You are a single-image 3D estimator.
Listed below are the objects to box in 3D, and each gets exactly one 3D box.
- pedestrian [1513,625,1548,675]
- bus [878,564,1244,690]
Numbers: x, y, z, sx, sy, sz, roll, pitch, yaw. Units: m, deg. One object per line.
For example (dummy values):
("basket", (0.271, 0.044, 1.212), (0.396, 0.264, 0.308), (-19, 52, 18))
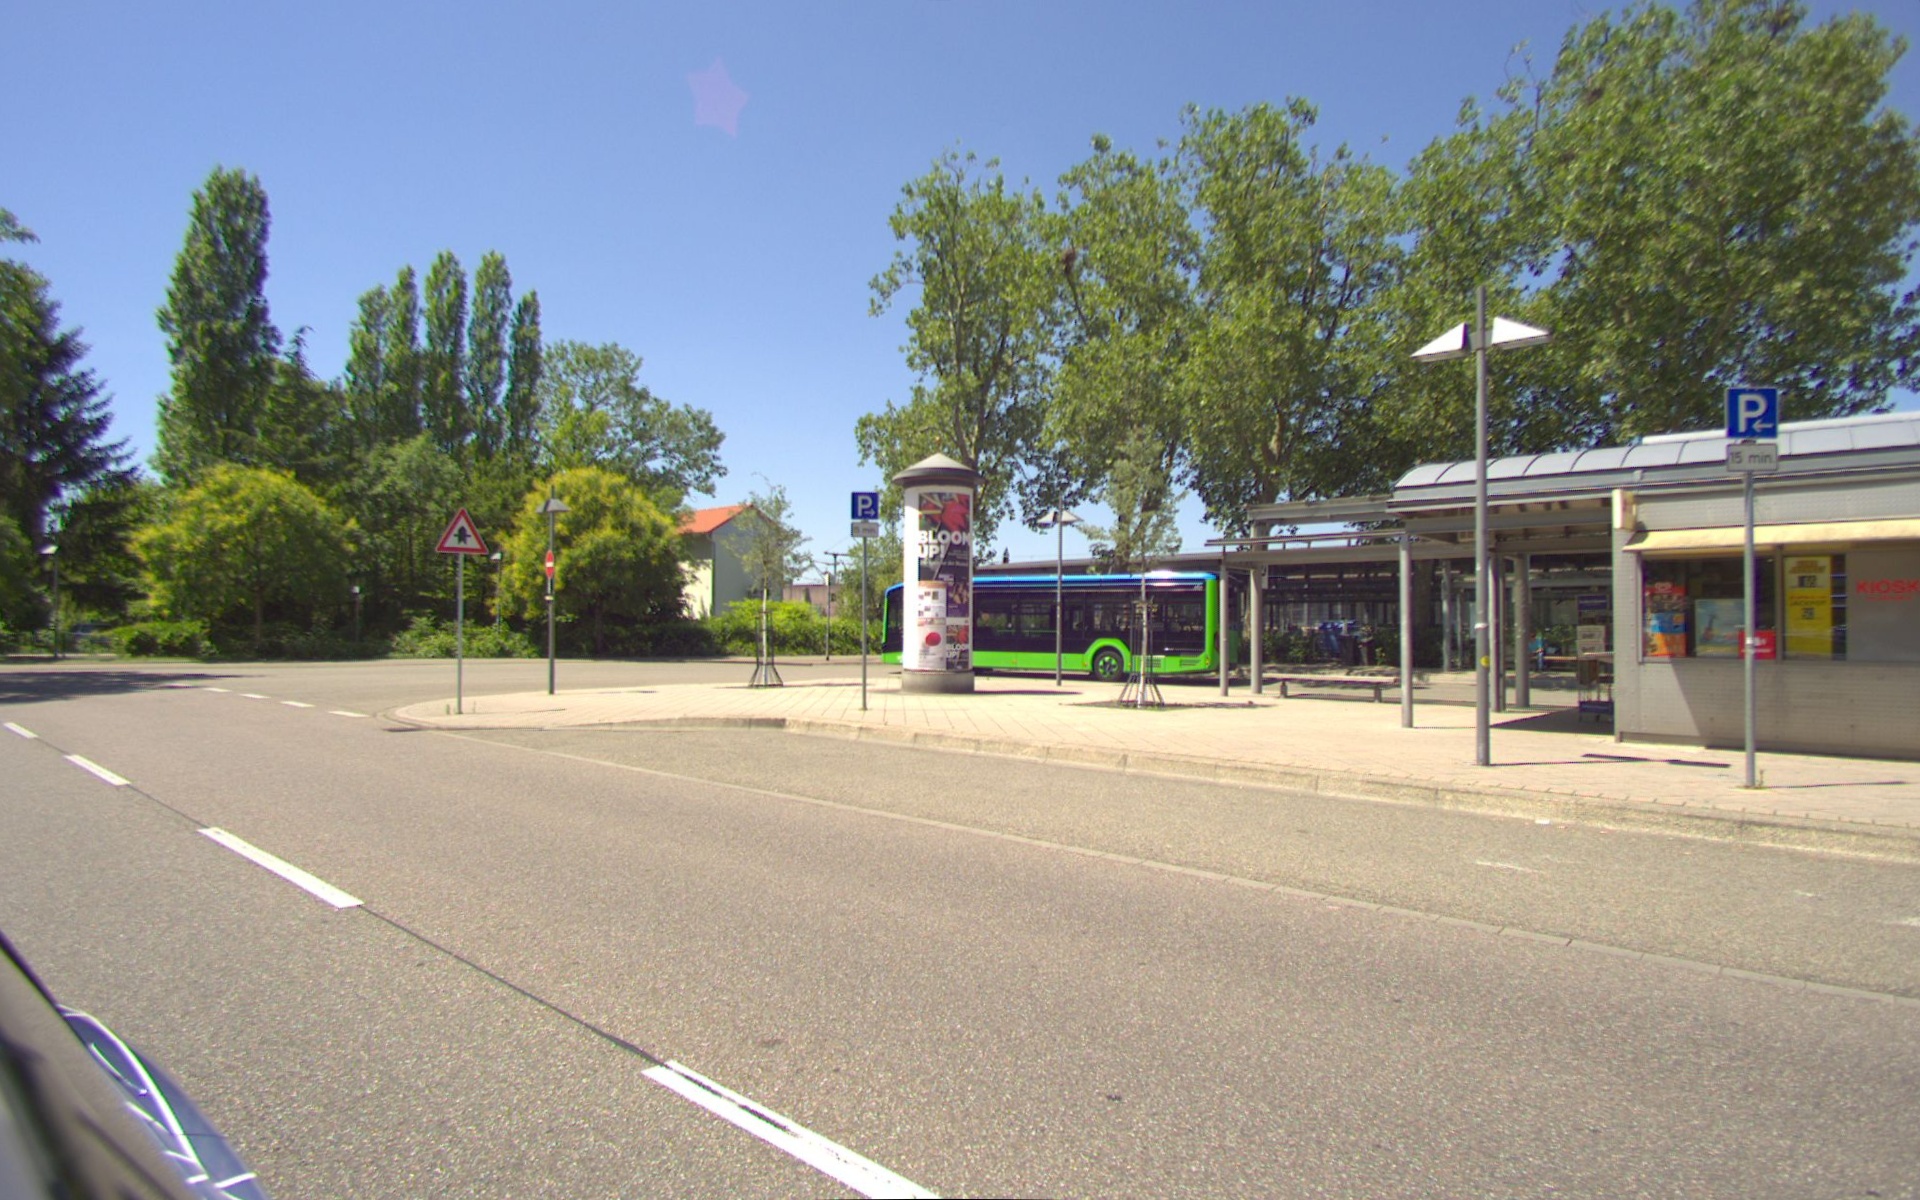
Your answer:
("pedestrian", (17.407, 1.518, 30.890), (0.821, 1.475, 0.599), (-1, -2, 38))
("bus", (2.833, 0.858, 32.784), (12.184, 3.553, 2.145), (-1, -2, 33))
